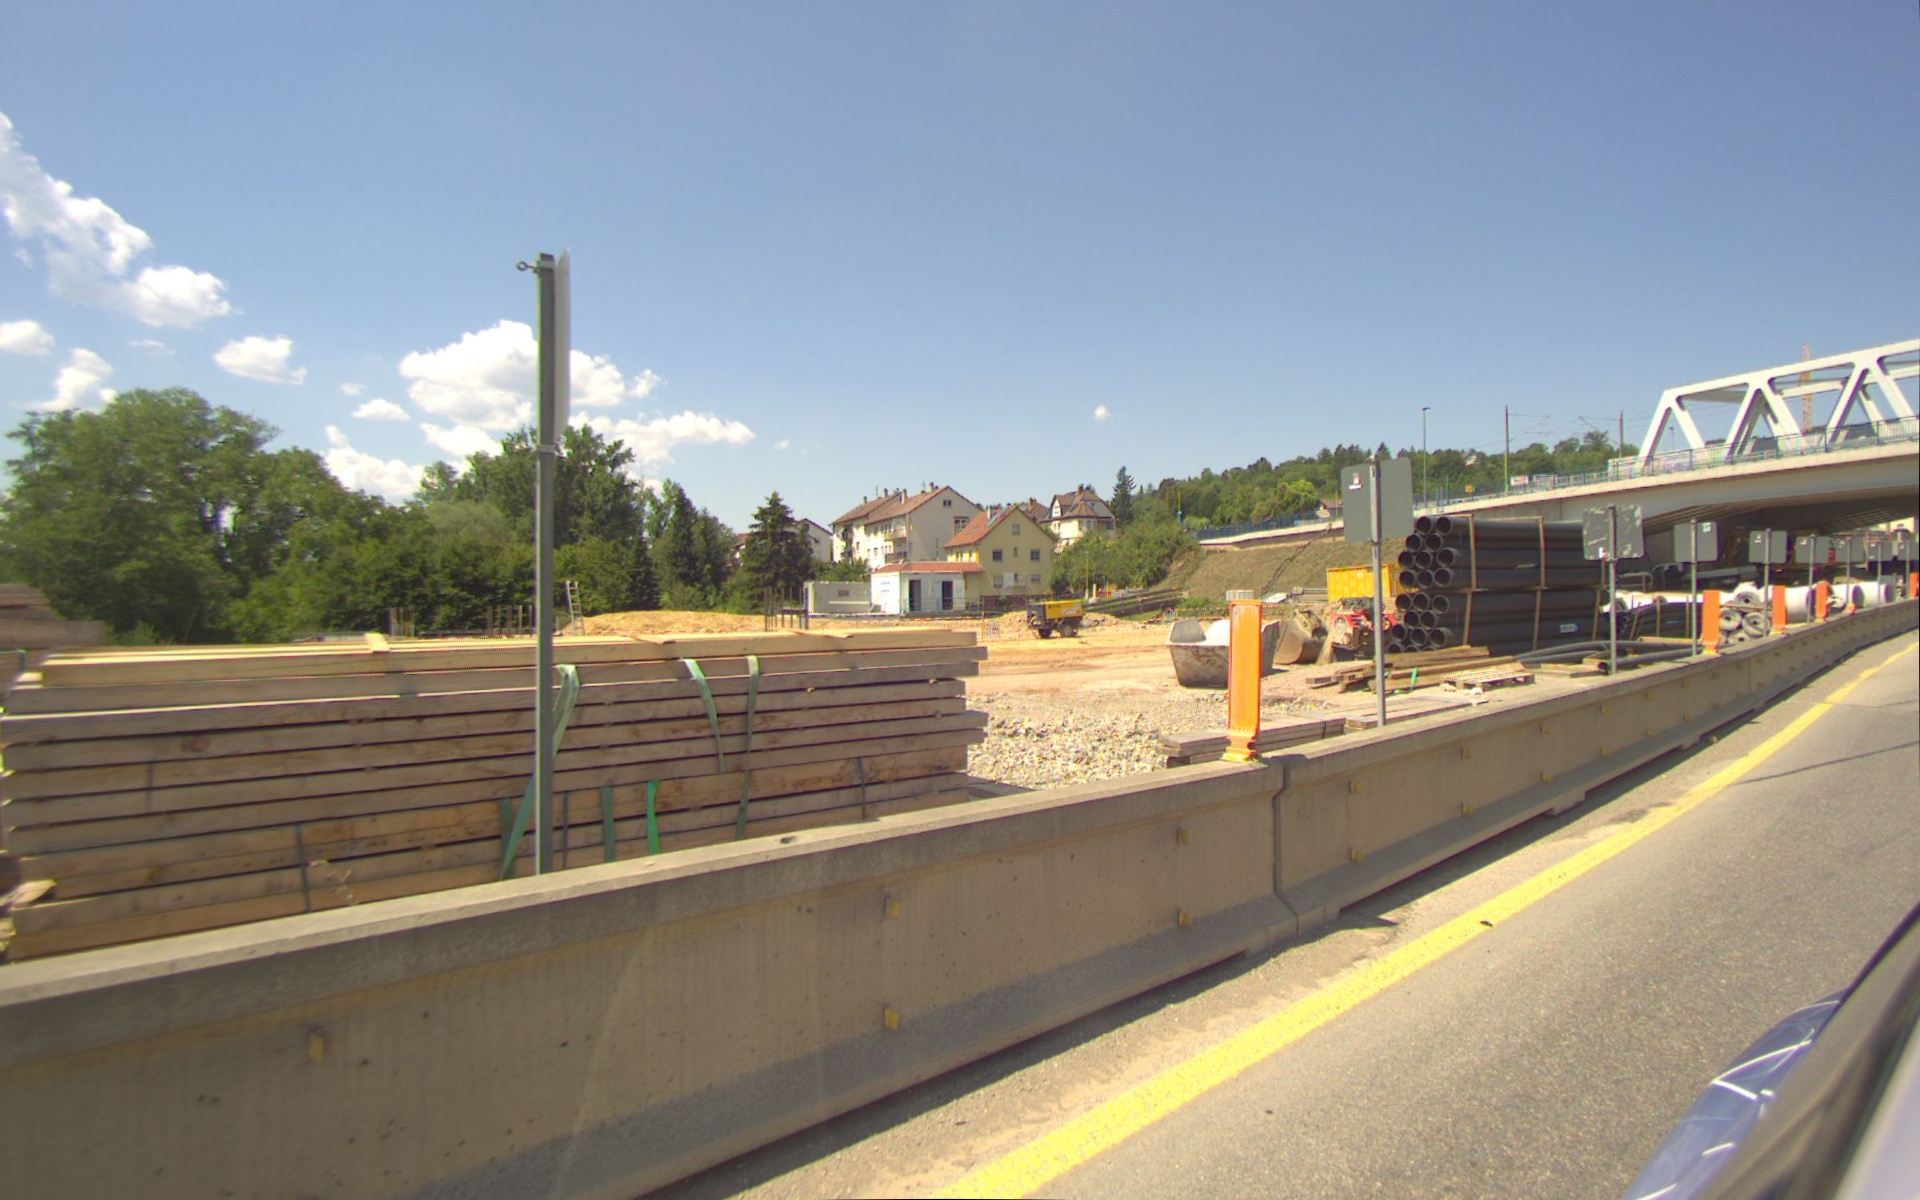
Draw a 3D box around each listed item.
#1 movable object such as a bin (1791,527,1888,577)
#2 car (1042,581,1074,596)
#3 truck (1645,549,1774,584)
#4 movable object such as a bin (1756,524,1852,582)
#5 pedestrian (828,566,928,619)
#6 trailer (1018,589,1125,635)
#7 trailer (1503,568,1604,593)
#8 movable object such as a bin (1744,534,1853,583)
[{"bbox_3d":[65.293,-3.543,75.210,2.930,3.327,4.575,-5,1,-25],"label":"movable object such as a bin"},{"bbox_3d":[10.993,-1.322,113.292,1.547,1.526,4.174,-5,3,-26],"label":"car"},{"bbox_3d":[50.689,-2.252,68.645,2.611,2.099,6.552,-3,1,-26],"label":"truck"},{"bbox_3d":[56.610,-3.101,67.931,2.843,3.586,3.902,-4,1,-18],"label":"movable object such as a bin"},{"bbox_3d":[-3.657,-0.354,45.388,3.923,2.037,2.002,-5,3,-31],"label":"pedestrian"},{"bbox_3d":[4.179,0.409,37.652,3.753,1.504,1.629,-3,1,-33],"label":"trailer"},{"bbox_3d":[34.772,-1.157,59.393,2.016,1.234,4.734,-5,3,-29],"label":"trailer"},{"bbox_3d":[59.201,-2.878,71.565,2.446,3.094,5.265,-4,1,-25],"label":"movable object such as a bin"}]
